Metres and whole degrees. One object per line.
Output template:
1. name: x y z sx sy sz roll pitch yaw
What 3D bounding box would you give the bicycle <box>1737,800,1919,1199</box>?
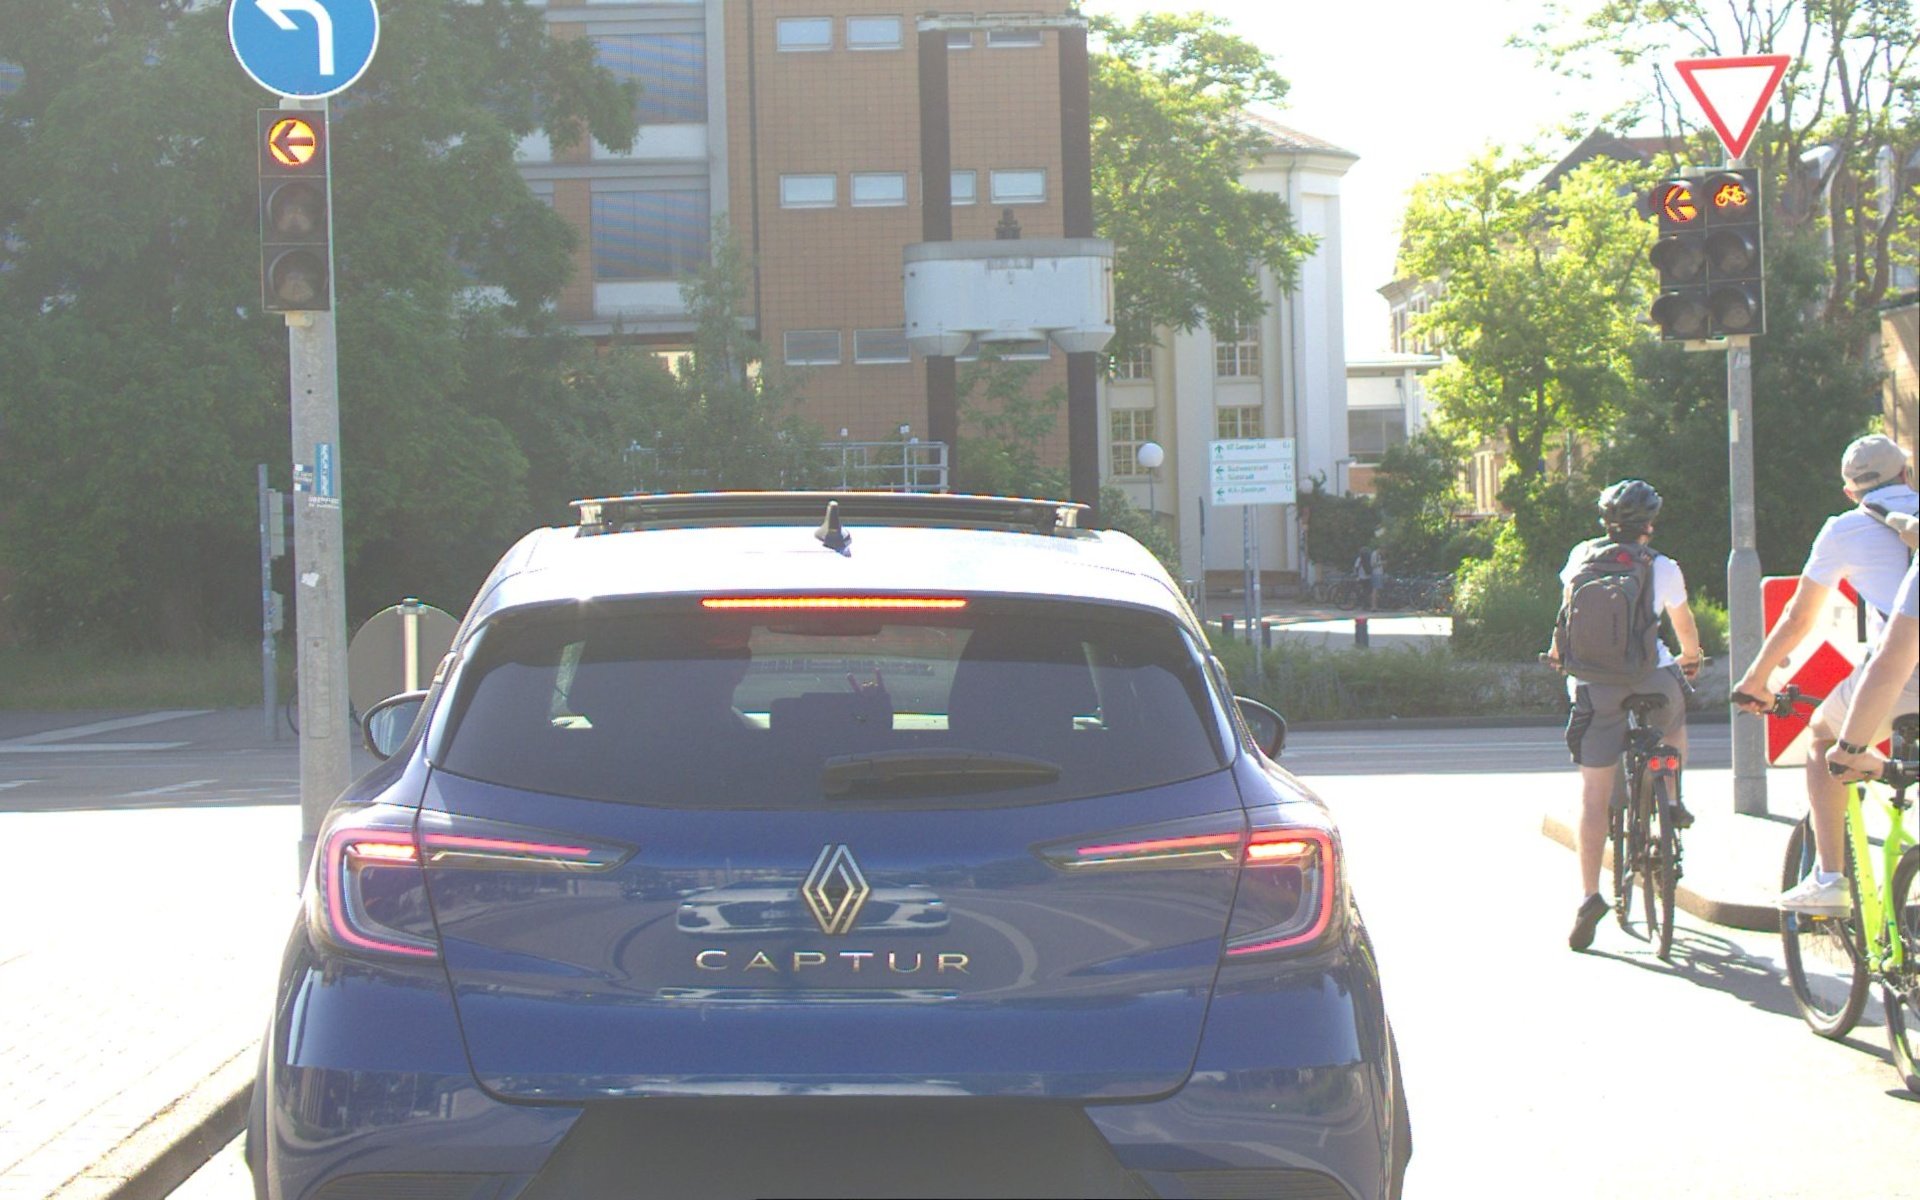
1. bicycle: 2.228 0.940 7.248 0.740 0.893 1.978 1 1 1

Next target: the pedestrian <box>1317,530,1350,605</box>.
1. pedestrian: 10.147 -0.888 93.373 0.859 2.007 0.468 -1 1 6

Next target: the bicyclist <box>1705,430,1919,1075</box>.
1. bicyclist: 2.622 0.409 9.802 0.645 1.733 1.067 1 0 -6

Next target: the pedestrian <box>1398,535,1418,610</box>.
1. pedestrian: 12.031 -0.748 92.387 0.475 2.007 0.468 -1 1 6

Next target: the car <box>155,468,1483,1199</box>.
1. car: -0.268 0.616 6.688 1.803 1.626 4.000 0 1 -2

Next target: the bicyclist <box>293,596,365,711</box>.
1. bicyclist: -8.036 0.677 43.778 0.737 1.436 0.598 -2 1 -27

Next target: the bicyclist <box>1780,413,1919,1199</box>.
1. bicyclist: 2.231 0.466 7.237 0.751 1.663 1.016 1 0 1

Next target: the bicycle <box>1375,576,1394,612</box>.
1. bicycle: 11.606 -0.167 94.030 0.405 0.969 1.683 1 1 4

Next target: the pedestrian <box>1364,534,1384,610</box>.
1. pedestrian: 10.974 -0.750 91.036 0.475 2.007 0.523 -1 1 6

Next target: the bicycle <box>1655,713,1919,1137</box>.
1. bicycle: 2.612 0.867 9.813 0.659 0.999 1.970 1 1 -6

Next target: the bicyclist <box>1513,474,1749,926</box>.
1. bicyclist: 2.507 0.357 12.938 0.726 1.623 0.969 1 0 4

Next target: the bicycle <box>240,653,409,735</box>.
1. bicycle: -8.084 1.190 43.761 2.005 0.961 0.598 -2 1 -27

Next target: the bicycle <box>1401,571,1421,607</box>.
1. bicycle: 12.374 -0.303 94.396 0.405 0.969 1.683 1 1 4

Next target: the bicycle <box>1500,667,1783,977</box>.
1. bicycle: 2.510 0.783 12.893 0.739 0.992 2.173 1 1 3

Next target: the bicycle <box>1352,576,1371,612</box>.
1. bicycle: 10.984 -0.176 94.073 0.405 0.969 1.683 1 1 4
